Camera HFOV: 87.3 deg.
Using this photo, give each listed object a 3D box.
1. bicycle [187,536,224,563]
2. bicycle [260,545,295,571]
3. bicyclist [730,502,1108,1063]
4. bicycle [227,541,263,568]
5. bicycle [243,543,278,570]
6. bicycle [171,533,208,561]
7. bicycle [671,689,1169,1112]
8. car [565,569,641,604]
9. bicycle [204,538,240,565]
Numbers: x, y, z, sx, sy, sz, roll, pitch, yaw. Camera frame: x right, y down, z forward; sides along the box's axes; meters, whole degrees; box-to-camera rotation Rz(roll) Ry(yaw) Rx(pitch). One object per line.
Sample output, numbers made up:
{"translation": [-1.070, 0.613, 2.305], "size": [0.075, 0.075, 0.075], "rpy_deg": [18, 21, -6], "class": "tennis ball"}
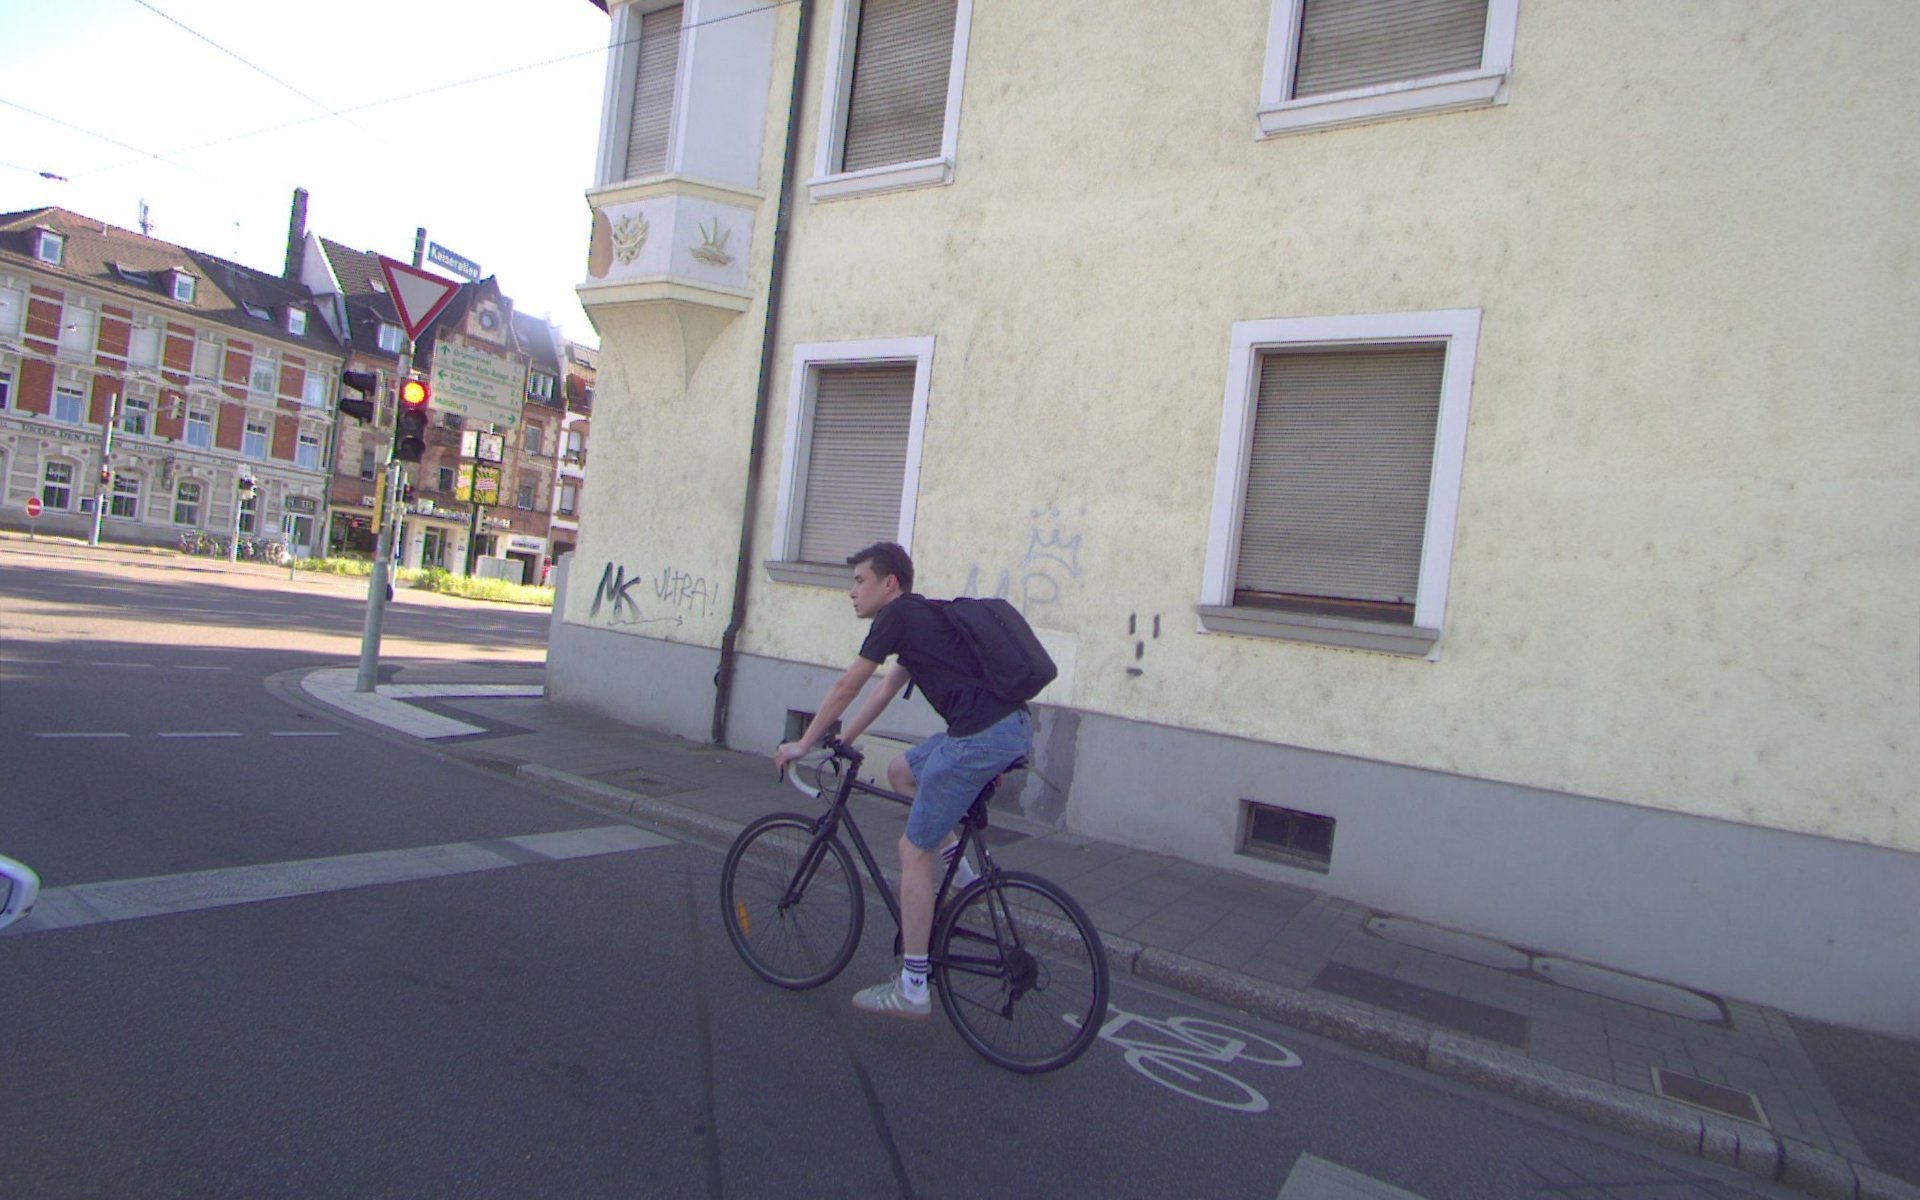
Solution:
{"translation": [-34.641, -2.326, 46.192], "size": [1.614, 1.064, 0.606], "rpy_deg": [7, 0, 27], "class": "bicycle"}
{"translation": [-32.976, -2.011, 48.585], "size": [1.614, 1.064, 0.606], "rpy_deg": [7, 0, 27], "class": "bicycle"}
{"translation": [-0.158, 0.578, 3.717], "size": [1.066, 1.751, 0.561], "rpy_deg": [6, -1, 32], "class": "bicyclist"}
{"translation": [-33.645, -2.149, 47.338], "size": [1.614, 1.064, 0.606], "rpy_deg": [7, 0, 27], "class": "bicycle"}
{"translation": [-33.350, -2.086, 47.948], "size": [1.614, 1.064, 0.606], "rpy_deg": [7, 0, 27], "class": "bicycle"}
{"translation": [-34.941, -2.389, 45.610], "size": [1.614, 1.064, 0.606], "rpy_deg": [7, 0, 27], "class": "bicycle"}
{"translation": [-0.203, 0.965, 3.707], "size": [1.729, 1.029, 0.532], "rpy_deg": [7, 0, 32], "class": "bicycle"}
{"translation": [-23.118, -0.858, 65.305], "size": [1.966, 1.674, 4.378], "rpy_deg": [7, -1, 29], "class": "car"}
{"translation": [-34.311, -2.260, 46.768], "size": [1.614, 1.064, 0.606], "rpy_deg": [7, 0, 27], "class": "bicycle"}
